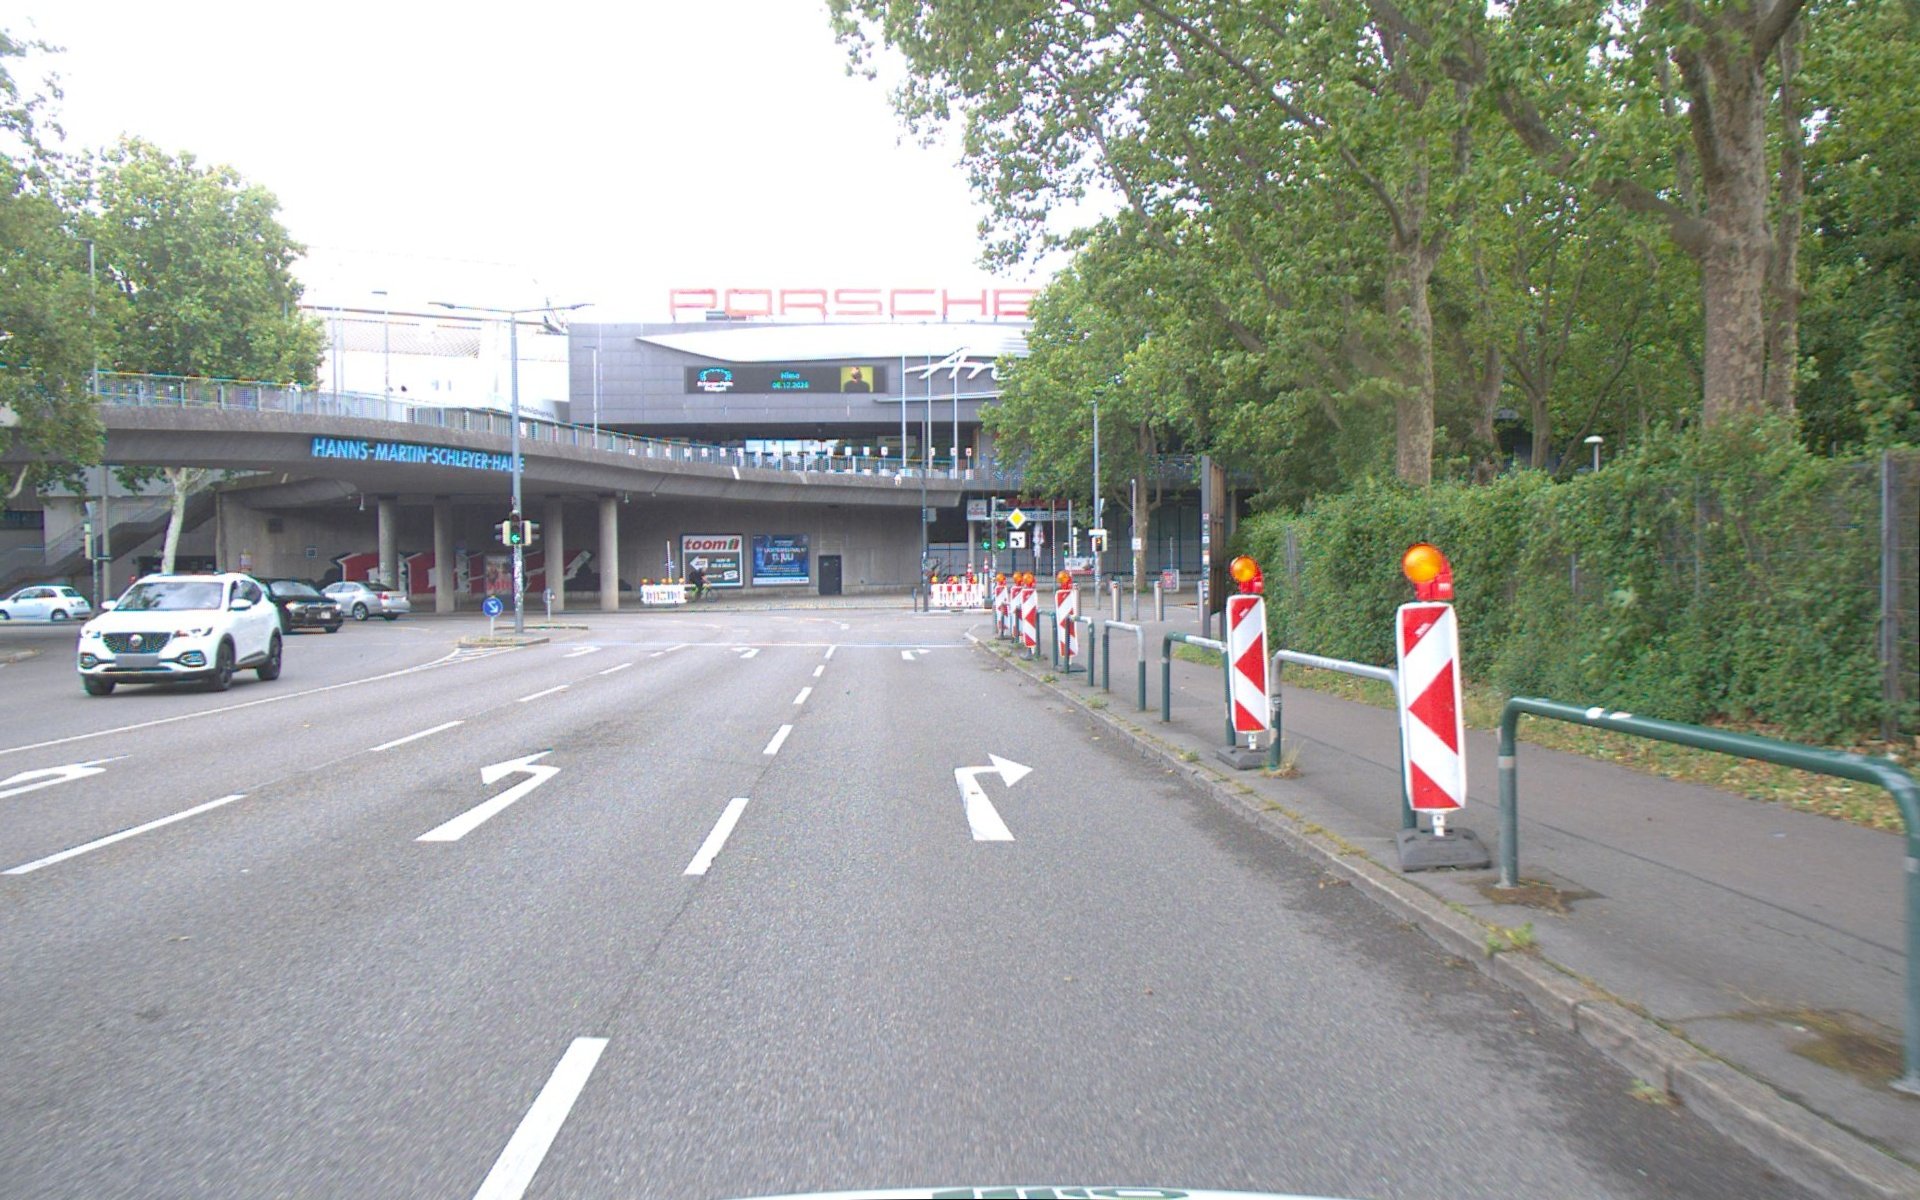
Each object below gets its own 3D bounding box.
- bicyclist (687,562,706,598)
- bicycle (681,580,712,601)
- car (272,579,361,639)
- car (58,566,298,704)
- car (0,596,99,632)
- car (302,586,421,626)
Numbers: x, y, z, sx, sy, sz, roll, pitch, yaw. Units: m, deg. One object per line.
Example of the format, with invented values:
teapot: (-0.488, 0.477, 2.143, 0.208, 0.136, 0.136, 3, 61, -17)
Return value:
bicyclist: (-12.962, -0.990, 81.373, 0.835, 1.727, 0.766, 1, 0, -7)
bicycle: (-12.964, -0.463, 81.366, 1.503, 1.031, 0.516, 1, 0, -7)
car: (-19.176, 0.269, 49.201, 1.751, 1.634, 4.382, -2, 1, -30)
car: (-11.408, 0.471, 24.498, 1.957, 1.775, 4.585, -2, 0, -9)
car: (-35.564, 0.536, 64.319, 3.315, 1.336, 1.615, 0, 0, -1)
car: (-22.568, 0.214, 62.396, 3.906, 1.443, 2.000, 0, 0, 23)
